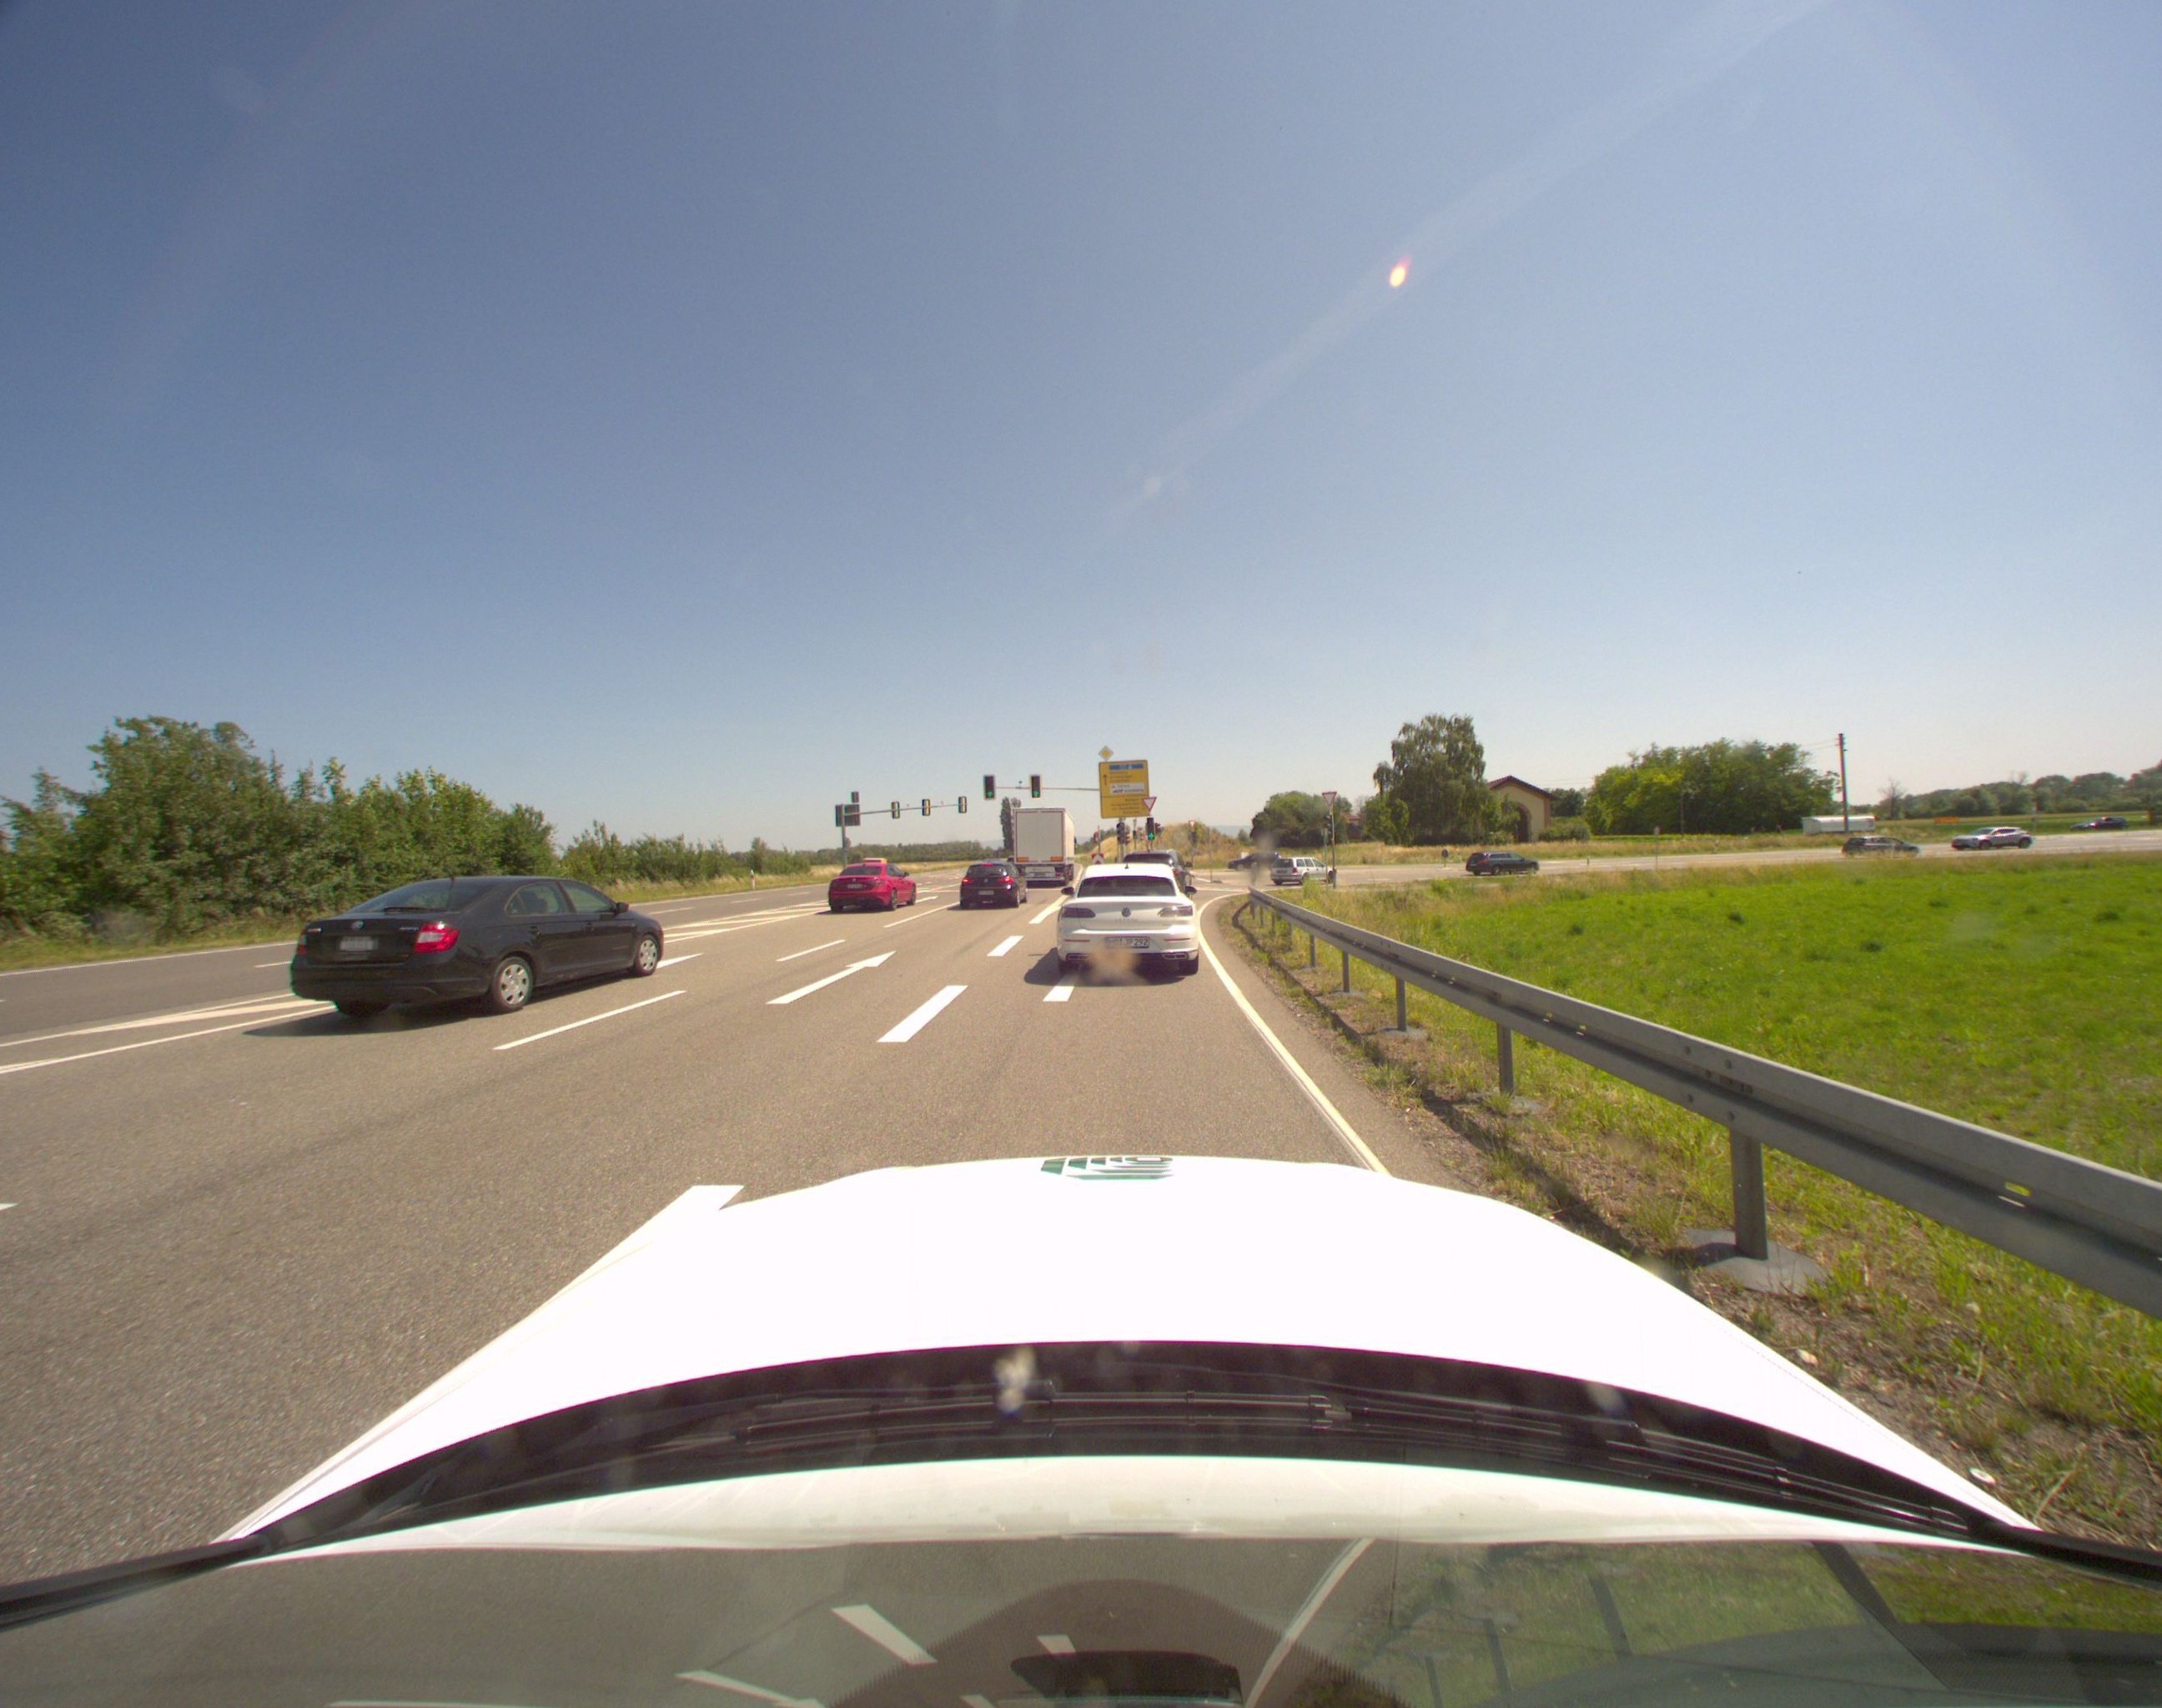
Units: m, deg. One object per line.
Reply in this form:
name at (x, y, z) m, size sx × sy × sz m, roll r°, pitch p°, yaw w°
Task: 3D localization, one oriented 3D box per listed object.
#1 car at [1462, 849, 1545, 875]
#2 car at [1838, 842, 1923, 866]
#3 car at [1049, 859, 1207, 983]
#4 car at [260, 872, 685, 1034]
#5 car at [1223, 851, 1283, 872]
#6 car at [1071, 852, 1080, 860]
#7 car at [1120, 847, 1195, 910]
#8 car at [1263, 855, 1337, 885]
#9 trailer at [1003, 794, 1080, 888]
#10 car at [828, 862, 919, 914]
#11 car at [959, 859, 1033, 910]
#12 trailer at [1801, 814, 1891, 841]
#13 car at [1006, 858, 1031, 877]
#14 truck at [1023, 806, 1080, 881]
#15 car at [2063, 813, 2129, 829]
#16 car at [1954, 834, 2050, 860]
car at (25.781, 0.485, 49.708) m, size 4.407 × 1.476 × 1.797 m, roll -1°, pitch -1°, yaw -14°
car at (52.366, 0.007, 53.381) m, size 3.861 × 1.522 × 1.803 m, roll -1°, pitch -1°, yaw -3°
car at (0.634, 0.812, 11.897) m, size 1.841 × 1.433 × 4.610 m, roll -1°, pitch -1°, yaw 2°
car at (-6.718, 0.969, 9.769) m, size 1.669 × 1.412 × 4.467 m, roll -1°, pitch -1°, yaw 1°
car at (13.197, 0.561, 62.707) m, size 4.240 × 1.368 × 1.778 m, roll -3°, pitch 1°, yaw 4°
car at (-1.419, 0.564, 197.182) m, size 1.975 × 1.869 × 4.464 m, roll -1°, pitch -1°, yaw -2°
car at (2.266, 0.662, 23.490) m, size 1.924 × 1.616 × 4.387 m, roll -1°, pitch -1°, yaw 7°
car at (11.270, 0.820, 41.785) m, size 4.116 × 1.429 × 1.783 m, roll 0°, pitch -1°, yaw -44°
trailer at (-1.942, -0.618, 46.220) m, size 3.369 × 4.543 × 12.874 m, roll -1°, pitch 0°, yaw 1°
car at (-6.391, 0.986, 25.571) m, size 1.744 × 1.421 × 4.564 m, roll -1°, pitch 0°, yaw -1°
car at (-2.632, 0.909, 26.106) m, size 1.777 × 1.430 × 4.382 m, roll -1°, pitch 0°, yaw 2°
trailer at (78.131, -2.714, 83.267) m, size 6.330 × 2.455 × 2.691 m, roll -3°, pitch 1°, yaw 6°
car at (-5.284, 1.129, 69.250) m, size 1.803 × 1.493 × 4.020 m, roll -1°, pitch -1°, yaw 0°
truck at (-1.815, -0.629, 53.096) m, size 3.369 × 4.543 × 6.373 m, roll -1°, pitch 0°, yaw 1°
car at (97.389, -3.154, 78.181) m, size 3.803 × 1.387 × 1.684 m, roll -2°, pitch 1°, yaw 9°
car at (64.053, -0.503, 56.681) m, size 4.520 × 1.543 × 1.872 m, roll -3°, pitch 1°, yaw 1°
